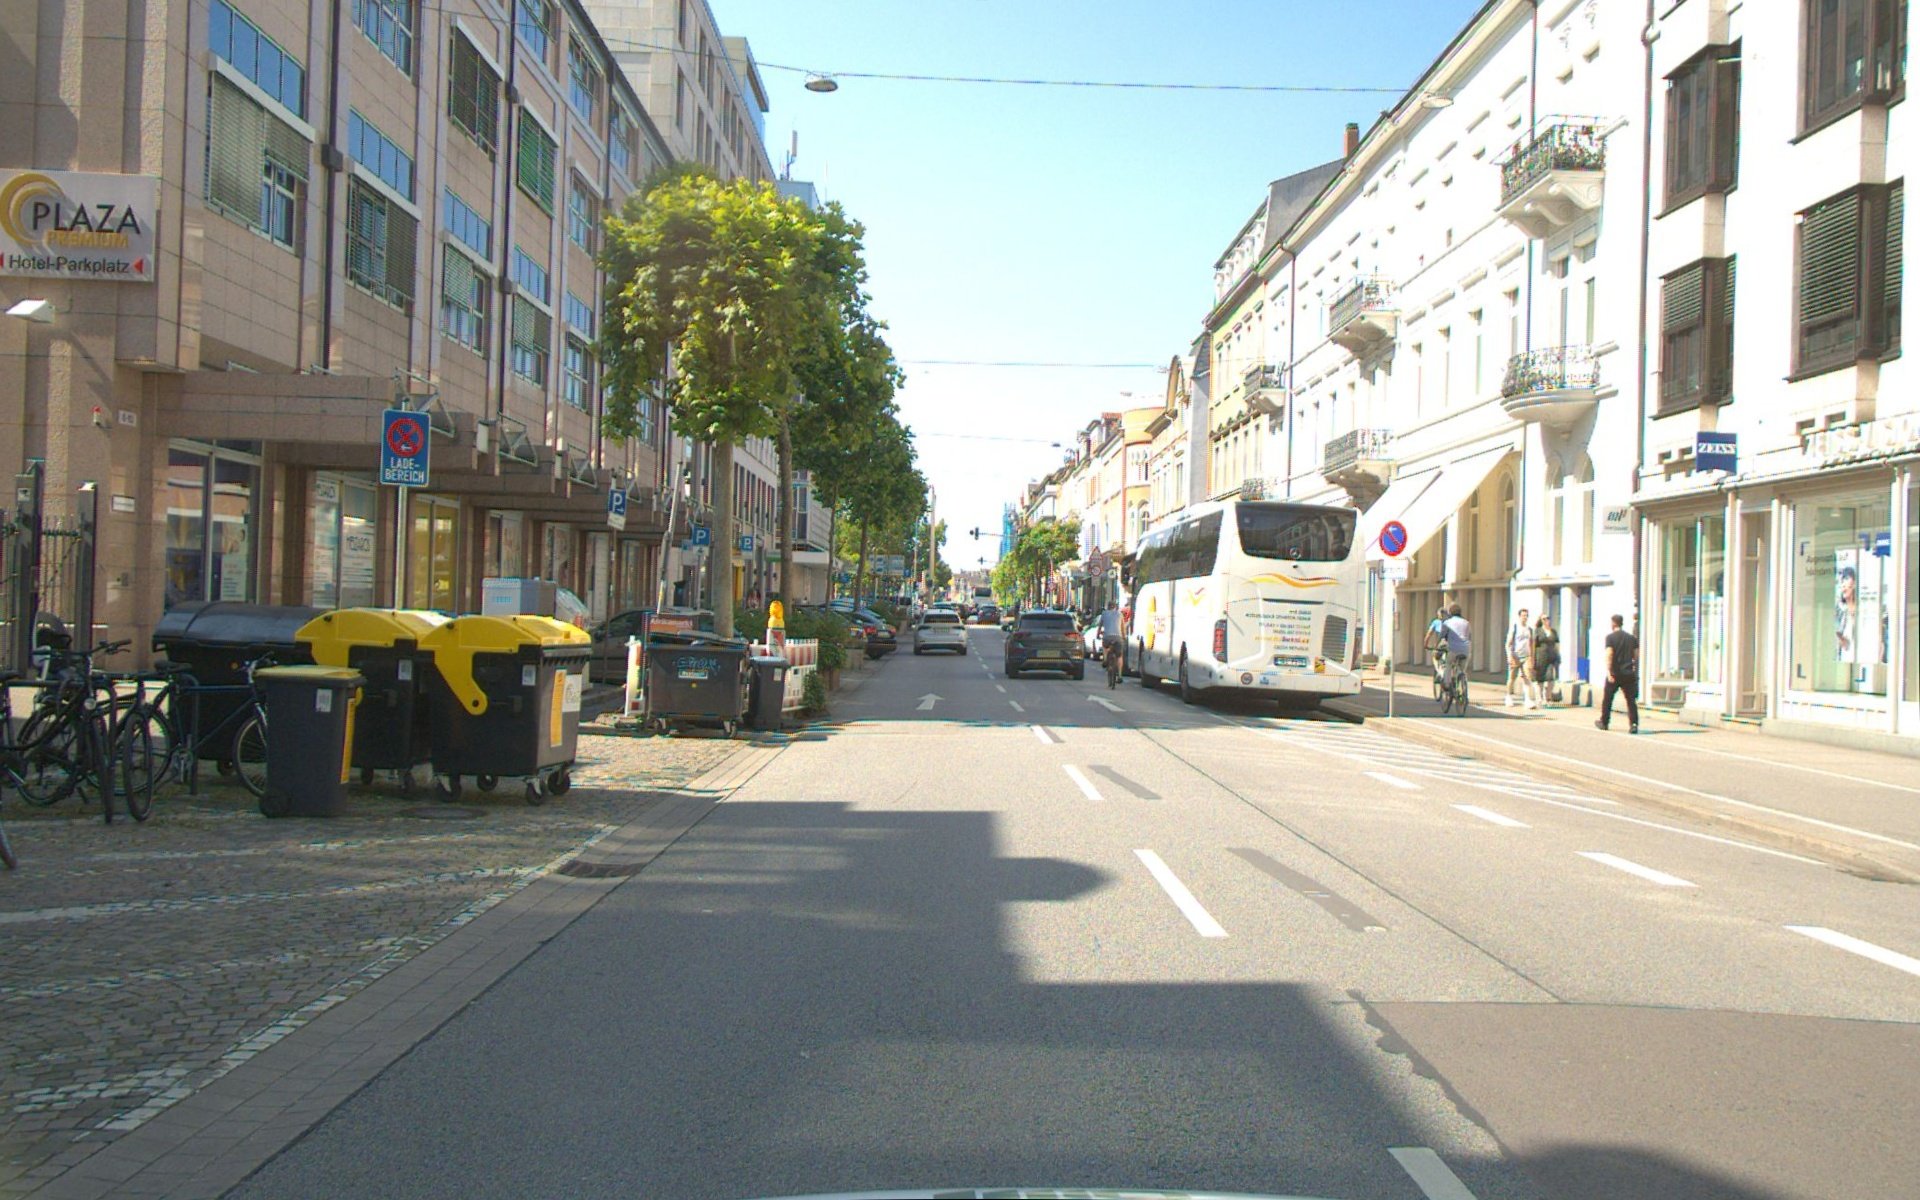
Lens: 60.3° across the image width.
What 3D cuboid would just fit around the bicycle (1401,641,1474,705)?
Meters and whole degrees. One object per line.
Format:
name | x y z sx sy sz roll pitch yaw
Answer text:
bicycle | 9.051 1.363 31.432 0.608 1.118 2.351 3 -1 -2

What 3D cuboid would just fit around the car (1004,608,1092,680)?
car | 2.036 1.000 39.083 1.796 1.554 3.999 2 -1 -1

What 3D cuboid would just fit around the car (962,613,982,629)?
car | 1.130 2.034 160.014 1.825 1.466 3.998 1 -3 -1

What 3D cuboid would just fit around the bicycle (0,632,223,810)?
bicycle | -6.412 0.845 11.839 1.935 1.140 0.508 4 -2 -4

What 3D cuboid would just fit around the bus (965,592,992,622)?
bus | 2.351 0.941 211.597 2.715 3.668 8.967 2 0 -3

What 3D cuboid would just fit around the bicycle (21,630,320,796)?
bicycle | -5.982 0.856 12.602 1.928 1.140 0.508 3 -2 -4

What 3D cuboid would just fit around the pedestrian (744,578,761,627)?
pedestrian | -7.284 0.081 58.087 0.555 1.686 0.636 2 -1 -6

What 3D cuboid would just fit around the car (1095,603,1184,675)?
car | 5.260 1.110 48.923 1.791 1.896 4.351 4 0 -4

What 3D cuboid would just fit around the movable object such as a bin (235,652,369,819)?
movable object such as a bin | -4.796 0.976 12.095 0.709 1.117 0.655 4 0 -8

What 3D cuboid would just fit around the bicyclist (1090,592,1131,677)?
bicyclist | 3.149 0.707 34.643 0.680 1.702 0.916 4 0 1

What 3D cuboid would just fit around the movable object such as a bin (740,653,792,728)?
movable object such as a bin | -2.551 1.183 21.776 0.547 0.956 0.496 1 0 -26

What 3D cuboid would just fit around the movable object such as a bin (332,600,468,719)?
movable object such as a bin | -6.777 0.701 20.081 1.184 1.322 1.127 4 0 0

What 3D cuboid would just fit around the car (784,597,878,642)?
car | -5.657 0.844 72.773 3.910 1.526 1.716 6 -1 -4

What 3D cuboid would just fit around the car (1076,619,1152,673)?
car | 5.008 1.475 54.375 1.777 1.491 4.578 4 0 -3

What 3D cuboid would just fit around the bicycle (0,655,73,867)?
bicycle | -6.290 0.830 9.232 2.196 1.140 0.555 5 -2 -12

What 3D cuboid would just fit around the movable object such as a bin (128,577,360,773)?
movable object such as a bin | -5.951 0.593 13.844 1.183 1.476 1.365 4 0 5

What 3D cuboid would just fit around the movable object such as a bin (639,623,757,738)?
movable object such as a bin | -3.194 0.968 20.242 1.251 1.322 0.853 2 -1 0

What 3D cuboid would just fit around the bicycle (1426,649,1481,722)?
bicycle | 8.339 1.425 28.018 0.582 1.140 1.802 2 -1 7

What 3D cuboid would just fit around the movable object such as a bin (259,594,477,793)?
movable object such as a bin | -4.830 0.724 13.617 1.100 1.476 1.439 4 0 5

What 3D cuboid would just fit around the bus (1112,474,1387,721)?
bus | 5.272 0.025 33.022 2.824 3.807 12.422 4 -1 -1

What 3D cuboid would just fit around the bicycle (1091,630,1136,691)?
bicycle | 3.185 1.245 34.402 0.651 1.140 2.243 4 0 0

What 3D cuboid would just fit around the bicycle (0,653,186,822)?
bicycle | -6.325 0.912 11.223 1.807 1.092 0.556 2 -3 -4

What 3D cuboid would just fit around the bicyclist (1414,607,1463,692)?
bicyclist | 9.071 0.938 31.392 0.608 1.556 0.869 3 -1 -2

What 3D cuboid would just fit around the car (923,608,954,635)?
car | -1.240 1.236 96.181 1.708 1.466 3.999 2 0 -1

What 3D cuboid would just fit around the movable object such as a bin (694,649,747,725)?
movable object such as a bin | -3.115 1.123 21.525 0.488 0.956 0.555 0 0 16

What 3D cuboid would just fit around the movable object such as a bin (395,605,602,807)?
movable object such as a bin | -3.733 0.820 13.520 1.100 1.476 1.439 4 0 5

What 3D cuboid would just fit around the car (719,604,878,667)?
car | -4.778 1.020 48.455 4.674 1.560 1.978 3 0 42

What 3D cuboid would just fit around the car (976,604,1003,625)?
car | 2.171 1.102 122.335 1.825 1.466 3.999 2 0 -1

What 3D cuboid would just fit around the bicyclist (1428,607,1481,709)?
bicyclist | 8.249 0.957 27.624 0.679 1.654 0.836 1 -1 7

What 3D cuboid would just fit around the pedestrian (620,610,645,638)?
pedestrian | -10.440 0.762 52.744 0.554 0.823 0.774 7 -1 0

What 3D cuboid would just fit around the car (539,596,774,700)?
car | -5.339 0.807 28.873 3.985 1.520 1.925 3 0 41

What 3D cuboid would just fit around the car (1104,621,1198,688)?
car | 4.936 1.374 43.379 1.821 1.495 5.225 4 -1 0

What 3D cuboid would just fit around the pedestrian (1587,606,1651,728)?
pedestrian | 9.693 0.988 24.349 0.607 1.750 0.835 2 -3 2

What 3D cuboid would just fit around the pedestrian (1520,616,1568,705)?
pedestrian | 11.047 1.140 31.302 0.632 1.646 0.822 2 -2 2

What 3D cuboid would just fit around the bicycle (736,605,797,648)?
bicycle | -6.767 0.932 57.830 2.026 1.311 0.367 5 -2 -8

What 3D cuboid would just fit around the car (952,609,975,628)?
car | 0.293 1.578 141.121 1.825 1.466 3.998 1 -3 -1

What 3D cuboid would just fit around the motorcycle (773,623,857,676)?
motorcycle | -3.560 1.202 40.612 1.871 1.190 0.760 3 0 20

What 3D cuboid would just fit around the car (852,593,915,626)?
car | -5.863 0.712 126.364 4.639 2.038 1.931 5 -1 40

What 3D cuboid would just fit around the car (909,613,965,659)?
car | -0.795 1.195 55.688 1.825 1.466 3.998 1 -1 -1

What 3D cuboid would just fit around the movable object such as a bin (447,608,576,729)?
movable object such as a bin | -5.412 0.813 20.051 1.184 1.322 1.080 4 0 0

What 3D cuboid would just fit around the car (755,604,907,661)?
car | -4.045 0.991 51.439 4.709 1.447 1.873 4 0 40

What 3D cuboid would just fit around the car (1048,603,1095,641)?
car | 4.945 0.999 73.702 1.796 1.554 3.998 1 -2 -1

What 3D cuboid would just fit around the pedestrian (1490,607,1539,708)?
pedestrian | 10.184 1.053 30.407 0.561 1.810 1.020 2 -2 2
